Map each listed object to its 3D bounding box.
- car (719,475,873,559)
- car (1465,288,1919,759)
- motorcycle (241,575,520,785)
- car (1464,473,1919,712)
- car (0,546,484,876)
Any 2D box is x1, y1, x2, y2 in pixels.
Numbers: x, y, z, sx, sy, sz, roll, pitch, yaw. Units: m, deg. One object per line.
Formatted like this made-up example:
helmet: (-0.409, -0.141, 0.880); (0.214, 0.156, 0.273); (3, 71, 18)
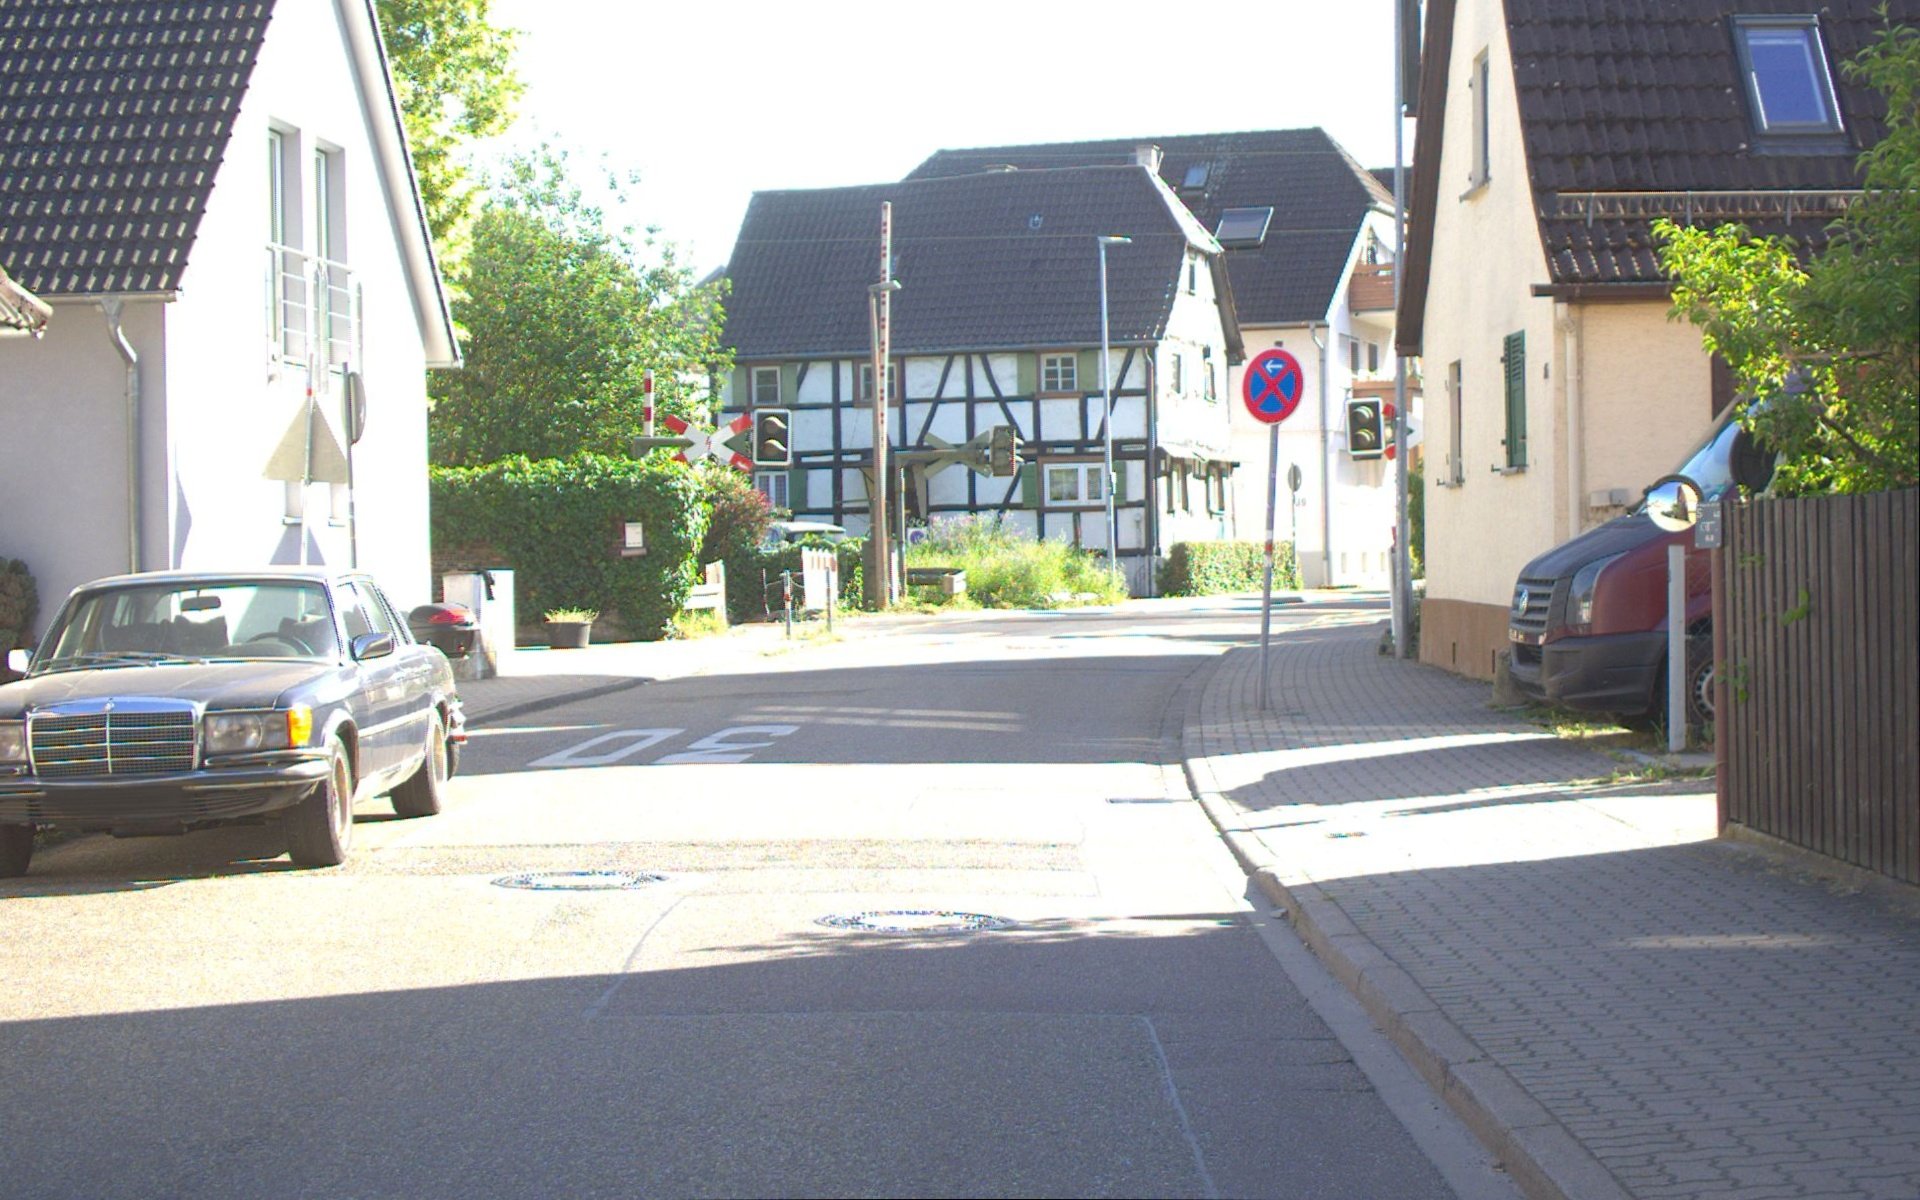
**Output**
car: (-3.209, -1.588, 66.495); (1.683, 1.559, 4.001); (0, 1, -23)
car: (6.251, -0.540, 21.192); (5.802, 2.646, 1.968); (-3, 0, -3)
motorcycle: (-3.614, 0.475, 21.322); (1.993, 1.227, 0.625); (0, 2, 45)
car: (5.939, -0.097, 24.364); (4.374, 1.482, 1.840); (-3, 0, -1)
car: (-3.758, 0.474, 17.701); (1.844, 1.401, 5.037); (-2, 1, 0)
